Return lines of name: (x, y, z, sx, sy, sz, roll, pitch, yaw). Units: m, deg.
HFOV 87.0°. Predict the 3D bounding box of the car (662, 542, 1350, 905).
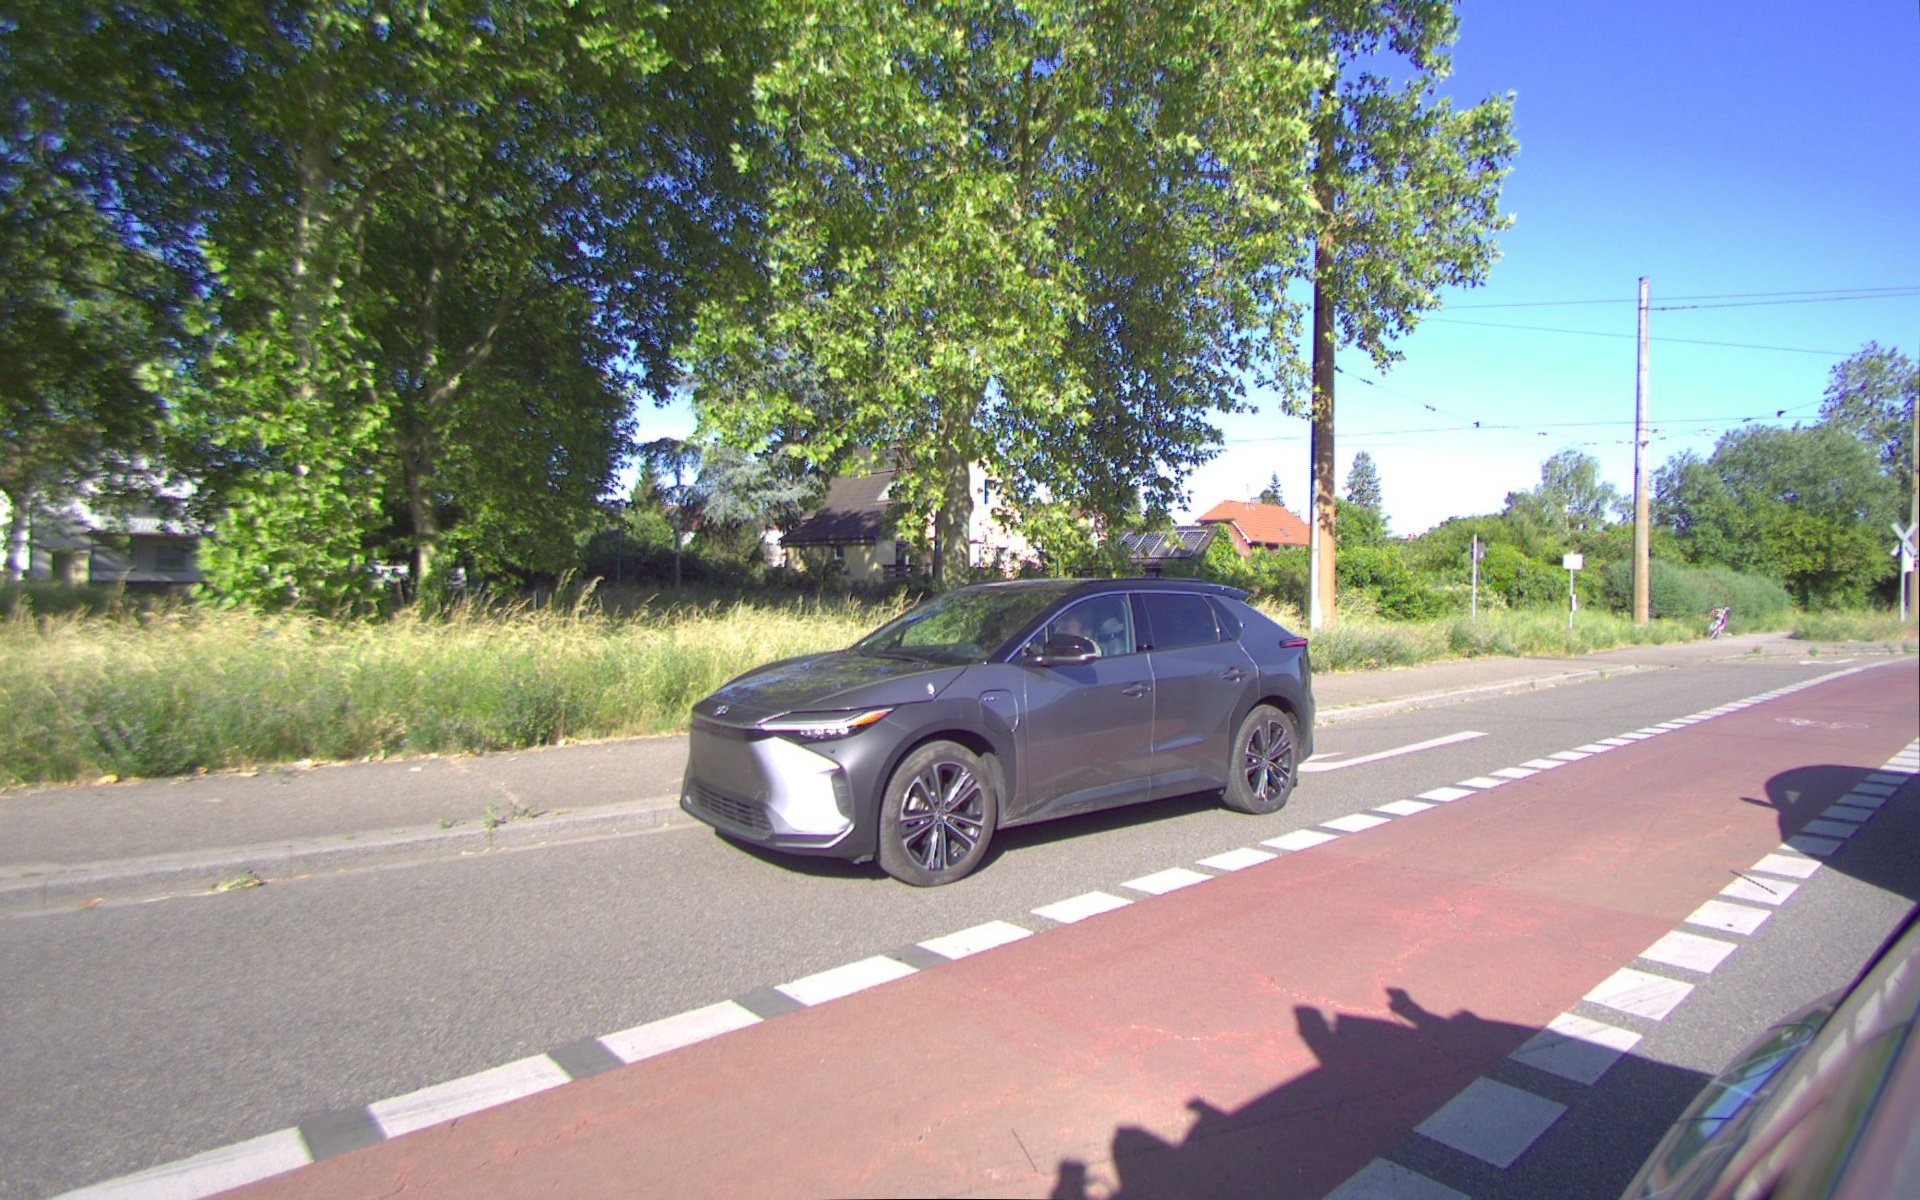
car: (0.520, 0.549, 6.664, 4.415, 1.651, 1.771, 0, 1, -38)
